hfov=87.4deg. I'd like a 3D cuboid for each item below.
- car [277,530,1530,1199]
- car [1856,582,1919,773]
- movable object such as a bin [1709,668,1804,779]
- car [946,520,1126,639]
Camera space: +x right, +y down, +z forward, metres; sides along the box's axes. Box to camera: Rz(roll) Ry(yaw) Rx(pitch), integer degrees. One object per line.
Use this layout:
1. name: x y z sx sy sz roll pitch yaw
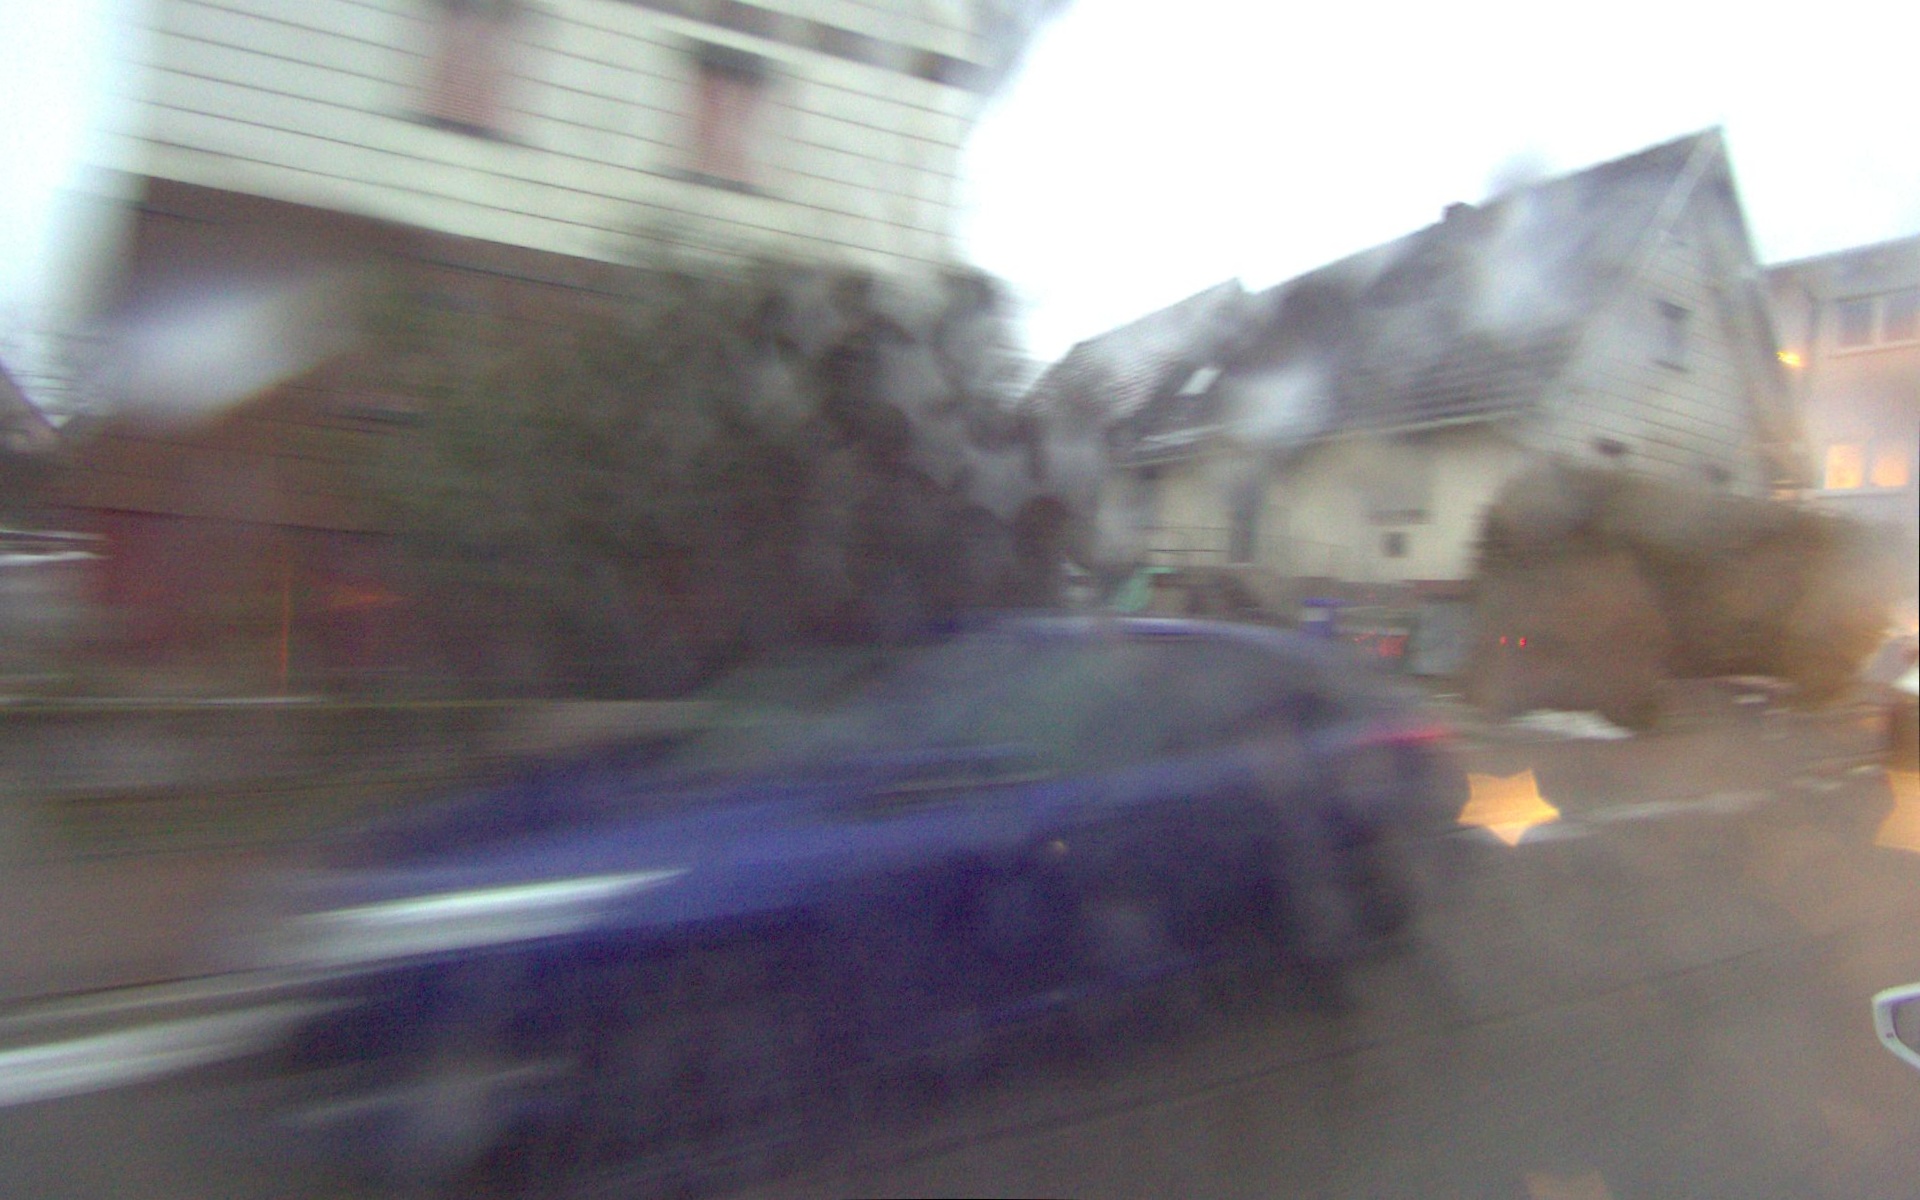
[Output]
1. car: 0.072 0.689 3.804 4.261 1.523 1.785 2 -1 -31
2. car: 11.394 0.815 10.481 4.294 1.859 1.817 2 -1 -30
3. movable object such as a bin: 7.512 1.145 9.478 0.593 0.929 0.480 -1 5 -33
4. car: 1.142 -0.449 17.180 1.941 1.510 3.990 7 4 -11
